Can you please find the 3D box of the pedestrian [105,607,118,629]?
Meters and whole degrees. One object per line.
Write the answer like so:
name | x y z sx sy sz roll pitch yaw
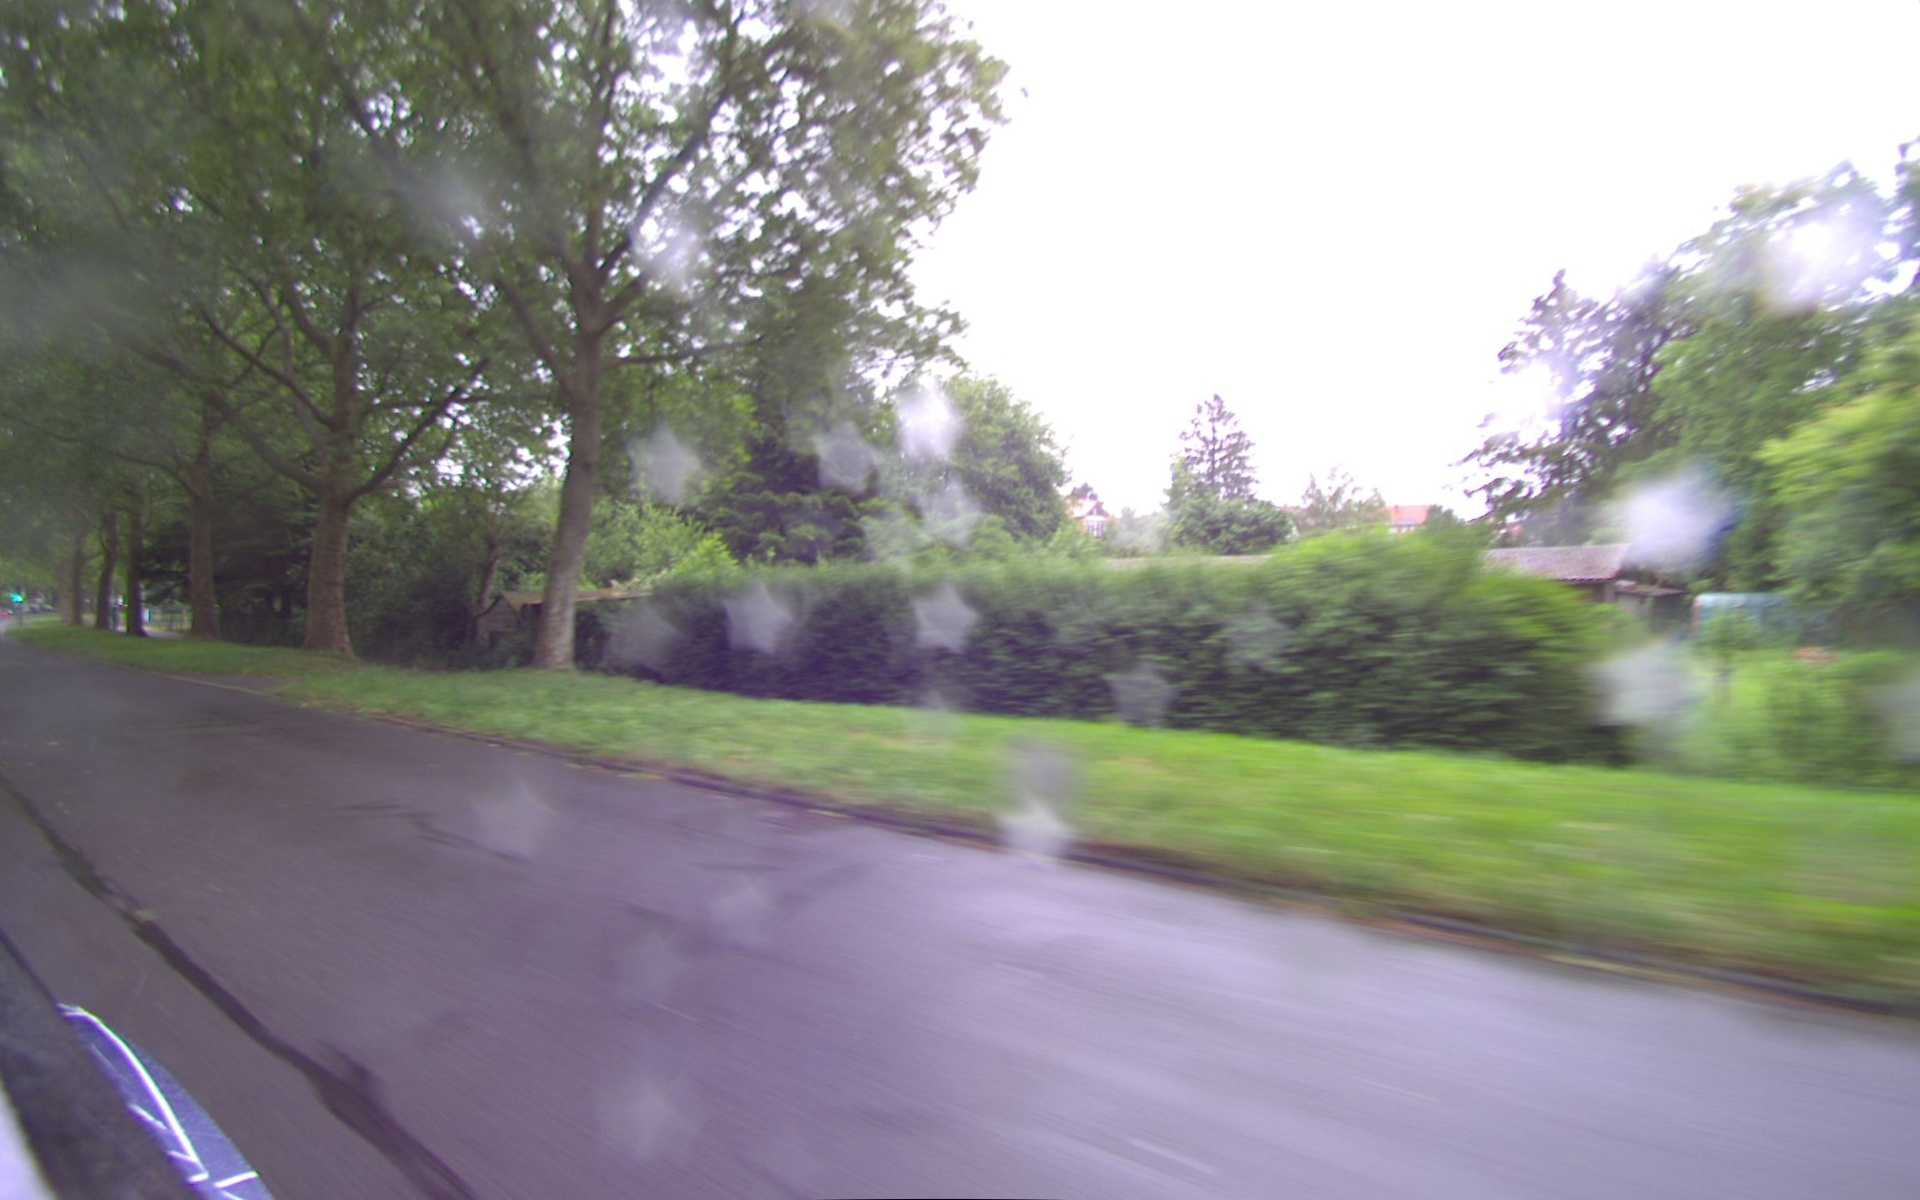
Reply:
pedestrian | -59.301 1.247 70.719 0.591 1.464 0.857 -2 1 -44

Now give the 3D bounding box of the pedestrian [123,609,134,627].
pedestrian | -58.644 1.271 71.374 0.510 1.271 0.850 -2 1 -44
